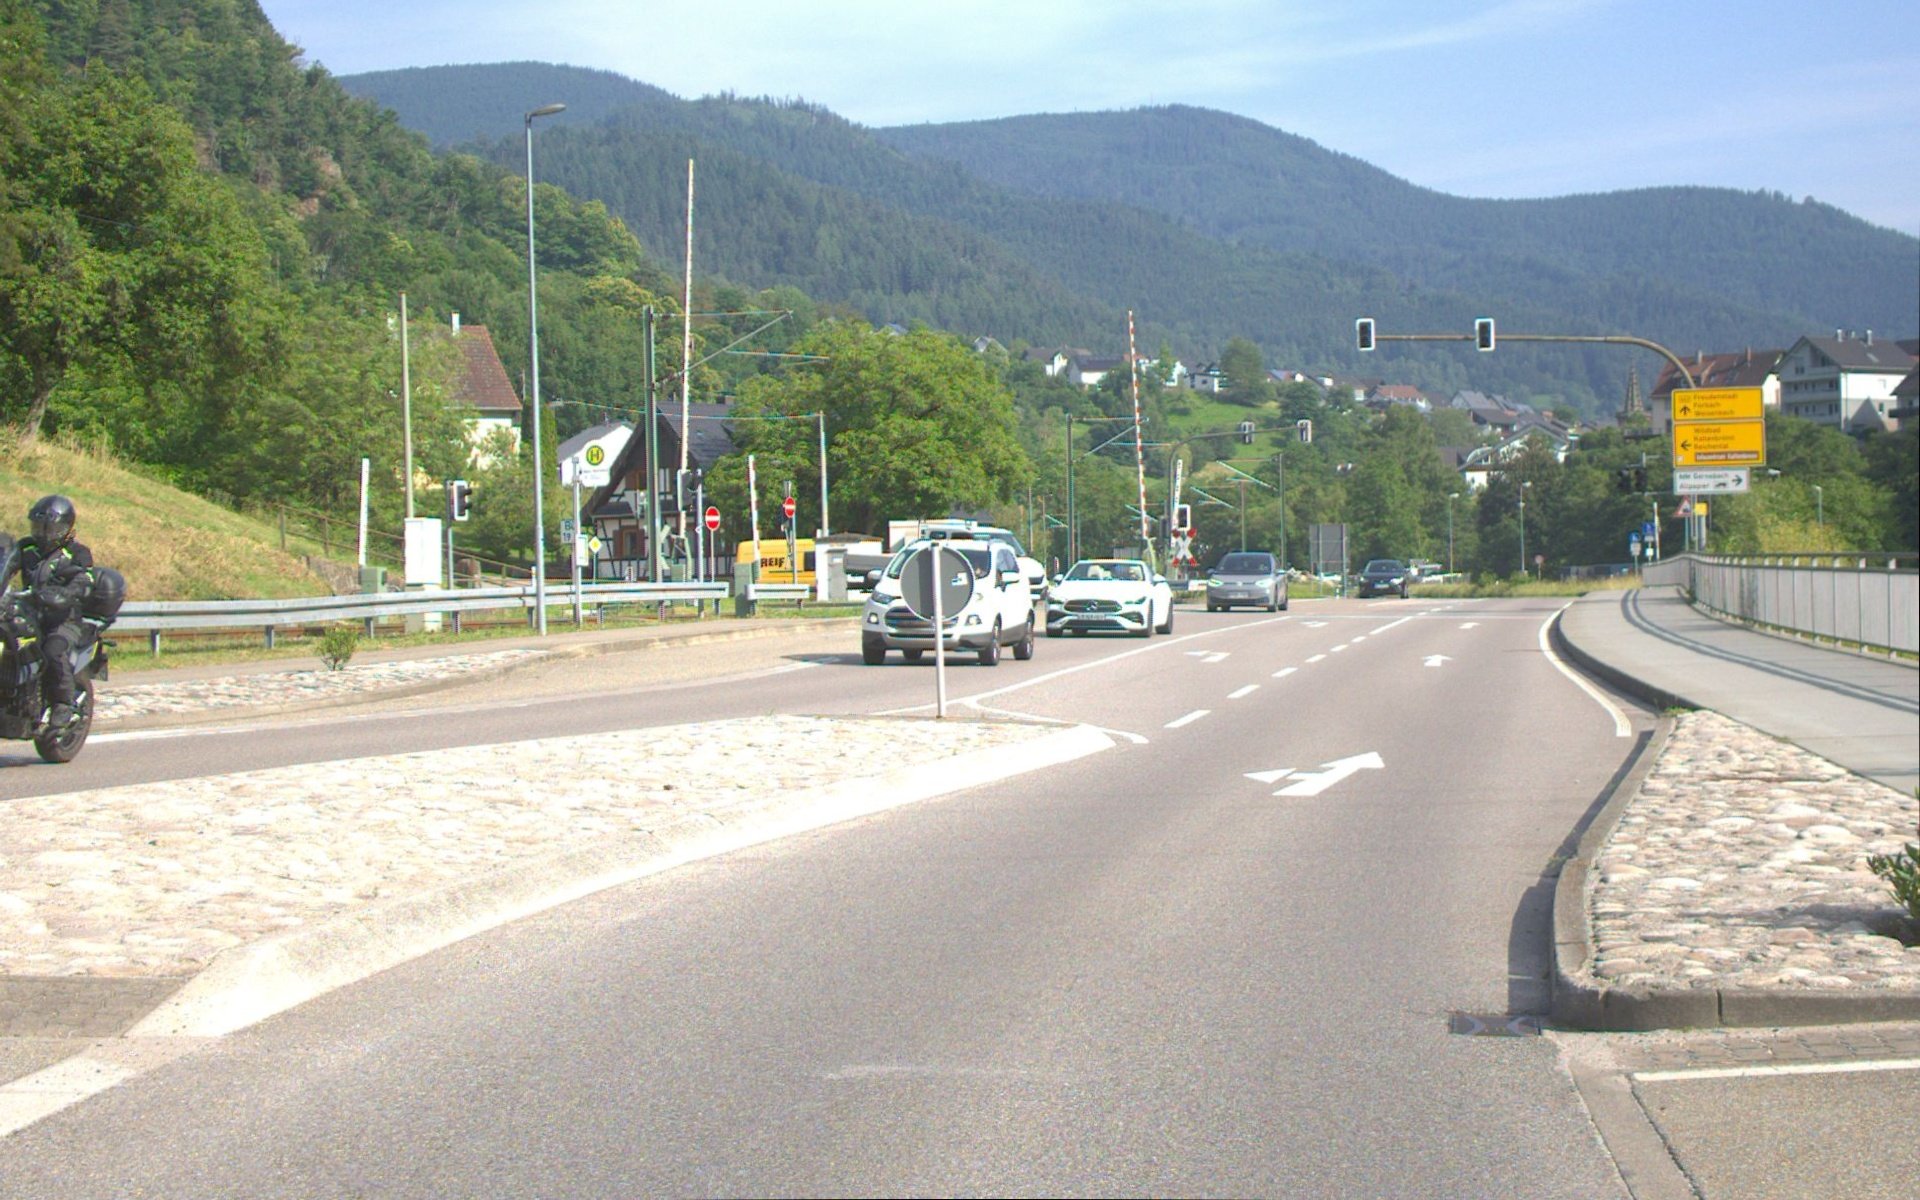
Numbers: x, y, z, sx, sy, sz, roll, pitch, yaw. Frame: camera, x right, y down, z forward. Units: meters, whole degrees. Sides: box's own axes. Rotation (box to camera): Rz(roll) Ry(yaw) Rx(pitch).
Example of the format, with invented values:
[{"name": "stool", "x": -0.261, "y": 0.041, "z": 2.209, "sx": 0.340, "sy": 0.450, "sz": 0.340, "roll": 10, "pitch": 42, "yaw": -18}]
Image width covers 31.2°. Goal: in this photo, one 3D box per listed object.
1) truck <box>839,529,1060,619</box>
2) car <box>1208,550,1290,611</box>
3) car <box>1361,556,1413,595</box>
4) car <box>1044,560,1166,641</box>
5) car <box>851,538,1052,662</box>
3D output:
[{"name": "truck", "x": -0.309, "y": -0.698, "z": 90.535, "sx": 5.998, "sy": 2.259, "sz": 1.995, "roll": 2, "pitch": 1, "yaw": 42}, {"name": "car", "x": 7.570, "y": -0.501, "z": 89.750, "sx": 1.759, "sy": 1.516, "sz": 4.203, "roll": 1, "pitch": 0, "yaw": 10}, {"name": "car", "x": 16.066, "y": -0.926, "z": 129.228, "sx": 1.773, "sy": 1.412, "sz": 3.784, "roll": -1, "pitch": 1, "yaw": 9}, {"name": "car", "x": 2.675, "y": -0.010, "z": 62.325, "sx": 1.782, "sy": 1.395, "sz": 4.825, "roll": 1, "pitch": 0, "yaw": 7}, {"name": "car", "x": -0.063, "y": -0.013, "z": 45.415, "sx": 1.765, "sy": 1.555, "sz": 3.998, "roll": -1, "pitch": 0, "yaw": 13}]
